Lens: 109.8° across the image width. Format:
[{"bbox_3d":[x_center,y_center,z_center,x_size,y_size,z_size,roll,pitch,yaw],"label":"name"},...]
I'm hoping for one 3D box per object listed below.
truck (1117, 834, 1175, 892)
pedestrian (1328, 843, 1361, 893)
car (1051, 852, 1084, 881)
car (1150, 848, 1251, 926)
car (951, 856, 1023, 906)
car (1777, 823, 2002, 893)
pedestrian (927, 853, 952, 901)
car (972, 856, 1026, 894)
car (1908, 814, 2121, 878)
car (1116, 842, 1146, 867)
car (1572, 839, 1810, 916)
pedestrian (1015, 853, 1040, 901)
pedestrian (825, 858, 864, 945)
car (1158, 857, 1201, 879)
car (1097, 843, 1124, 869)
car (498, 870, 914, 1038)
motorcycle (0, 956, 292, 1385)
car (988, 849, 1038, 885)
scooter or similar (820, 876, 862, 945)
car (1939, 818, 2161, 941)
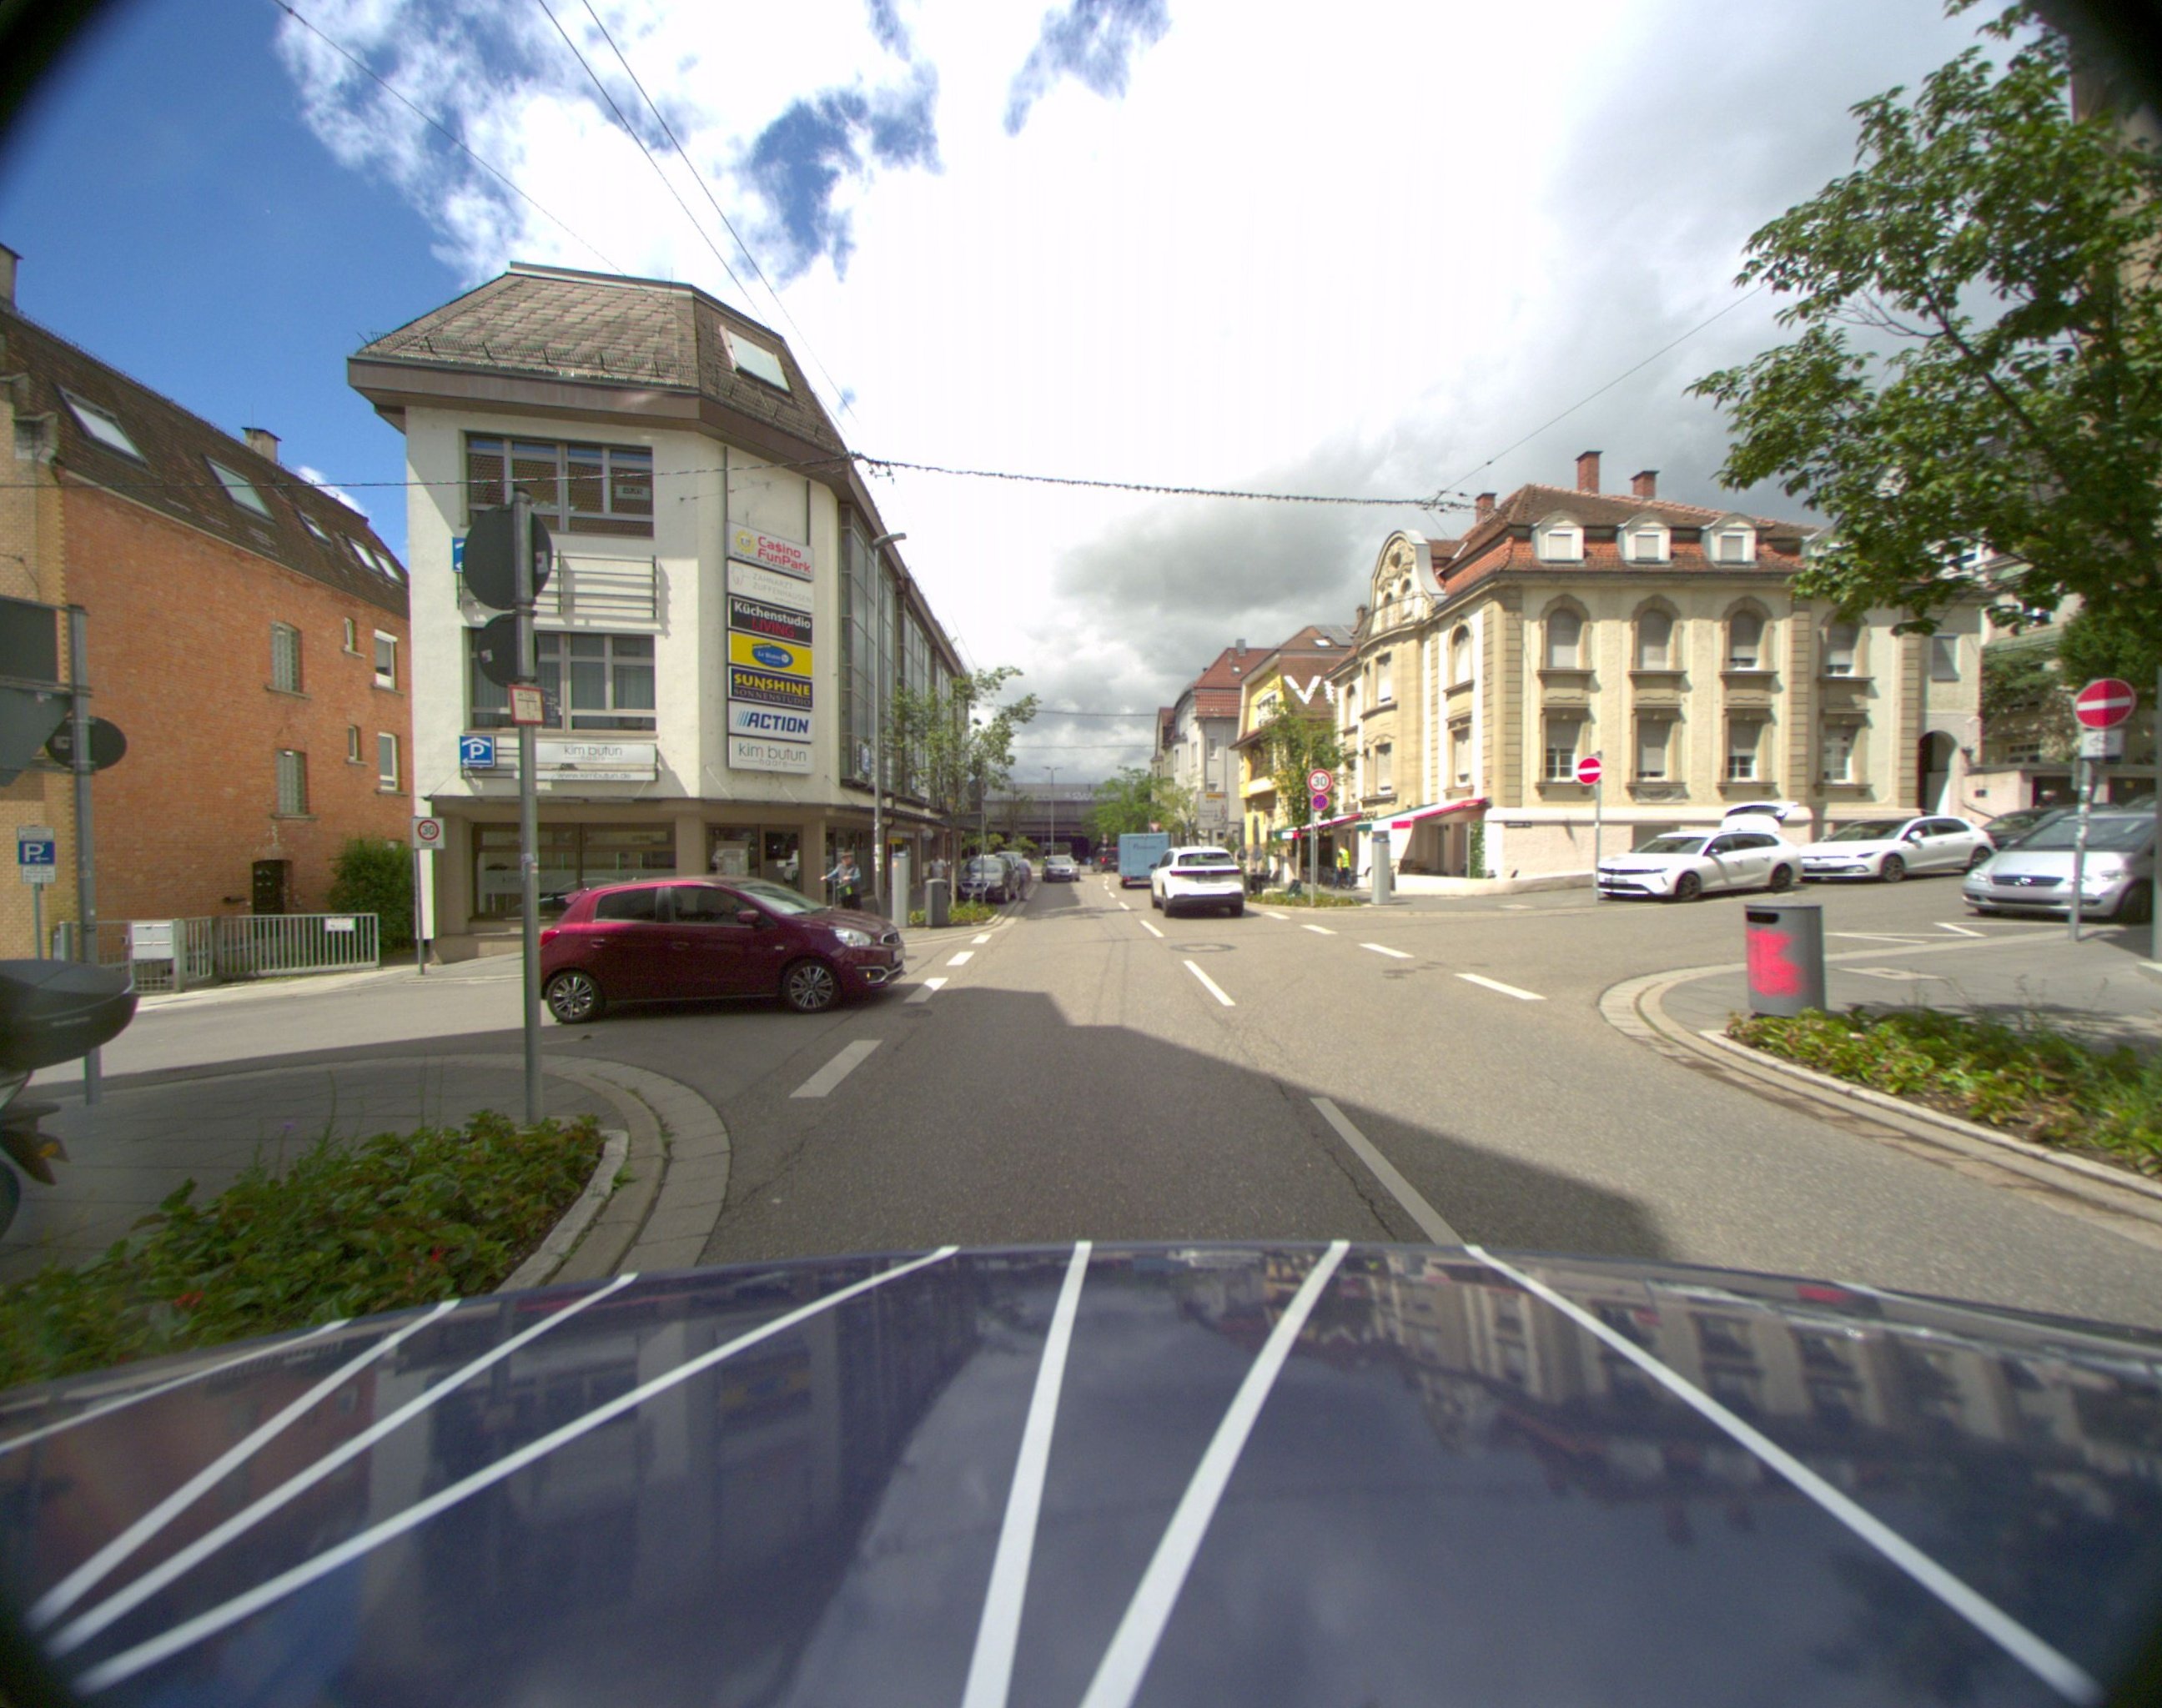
[{"bbox_3d":[2.808,0.305,34.292,2.111,2.292,6.475,-2,1,1],"label":"truck"},{"bbox_3d":[9.403,0.494,27.163,0.801,1.746,0.812,-2,1,-7],"label":"pedestrian"},{"bbox_3d":[-0.724,0.661,42.398,1.724,1.517,3.598,0,0,1],"label":"car"},{"bbox_3d":[2.823,0.715,18.856,1.792,1.630,4.115,-2,1,0],"label":"car"},{"bbox_3d":[-2.973,0.807,24.849,1.719,1.445,4.552,-1,0,1],"label":"car"},{"bbox_3d":[19.309,0.059,18.197,4.235,1.373,1.829,-3,1,-14],"label":"car"},{"bbox_3d":[-4.733,0.771,25.444,0.661,1.553,0.477,-2,1,0],"label":"pedestrian"},{"bbox_3d":[-3.415,0.833,32.320,1.857,1.436,4.535,-1,0,-1],"label":"car"},{"bbox_3d":[23.989,-0.221,19.574,4.235,1.373,1.829,-3,1,-14],"label":"car"},{"bbox_3d":[5.616,0.043,85.969,2.310,2.657,7.265,-2,1,-5],"label":"car"},{"bbox_3d":[13.609,0.463,17.014,4.390,1.373,1.997,-3,1,-17],"label":"car"},{"bbox_3d":[-1.801,0.781,25.620,0.584,1.591,0.549,-2,2,20],"label":"pedestrian"},{"bbox_3d":[-4.751,0.937,15.273,0.572,1.693,0.481,-2,1,-3],"label":"pedestrian"},{"bbox_3d":[6.099,0.856,47.445,1.722,1.296,4.464,-1,-1,-6],"label":"car"},{"bbox_3d":[2.255,0.190,58.624,1.876,1.921,5.176,-1,-1,0],"label":"car"},{"bbox_3d":[-3.931,1.026,8.362,3.755,1.521,1.537,-2,1,2],"label":"car"},{"bbox_3d":[-3.835,1.101,2.153,0.660,1.252,2.375,-2,1,0],"label":"motorcycle"},{"bbox_3d":[-3.310,0.619,37.791,1.825,1.652,4.467,1,0,3],"label":"car"},{"bbox_3d":[-4.828,1.116,15.341,0.432,1.273,1.249,-2,1,-1],"label":"scooter or similar"},{"bbox_3d":[16.118,0.289,11.541,4.217,1.552,1.999,-3,1,-6],"label":"car"}]
